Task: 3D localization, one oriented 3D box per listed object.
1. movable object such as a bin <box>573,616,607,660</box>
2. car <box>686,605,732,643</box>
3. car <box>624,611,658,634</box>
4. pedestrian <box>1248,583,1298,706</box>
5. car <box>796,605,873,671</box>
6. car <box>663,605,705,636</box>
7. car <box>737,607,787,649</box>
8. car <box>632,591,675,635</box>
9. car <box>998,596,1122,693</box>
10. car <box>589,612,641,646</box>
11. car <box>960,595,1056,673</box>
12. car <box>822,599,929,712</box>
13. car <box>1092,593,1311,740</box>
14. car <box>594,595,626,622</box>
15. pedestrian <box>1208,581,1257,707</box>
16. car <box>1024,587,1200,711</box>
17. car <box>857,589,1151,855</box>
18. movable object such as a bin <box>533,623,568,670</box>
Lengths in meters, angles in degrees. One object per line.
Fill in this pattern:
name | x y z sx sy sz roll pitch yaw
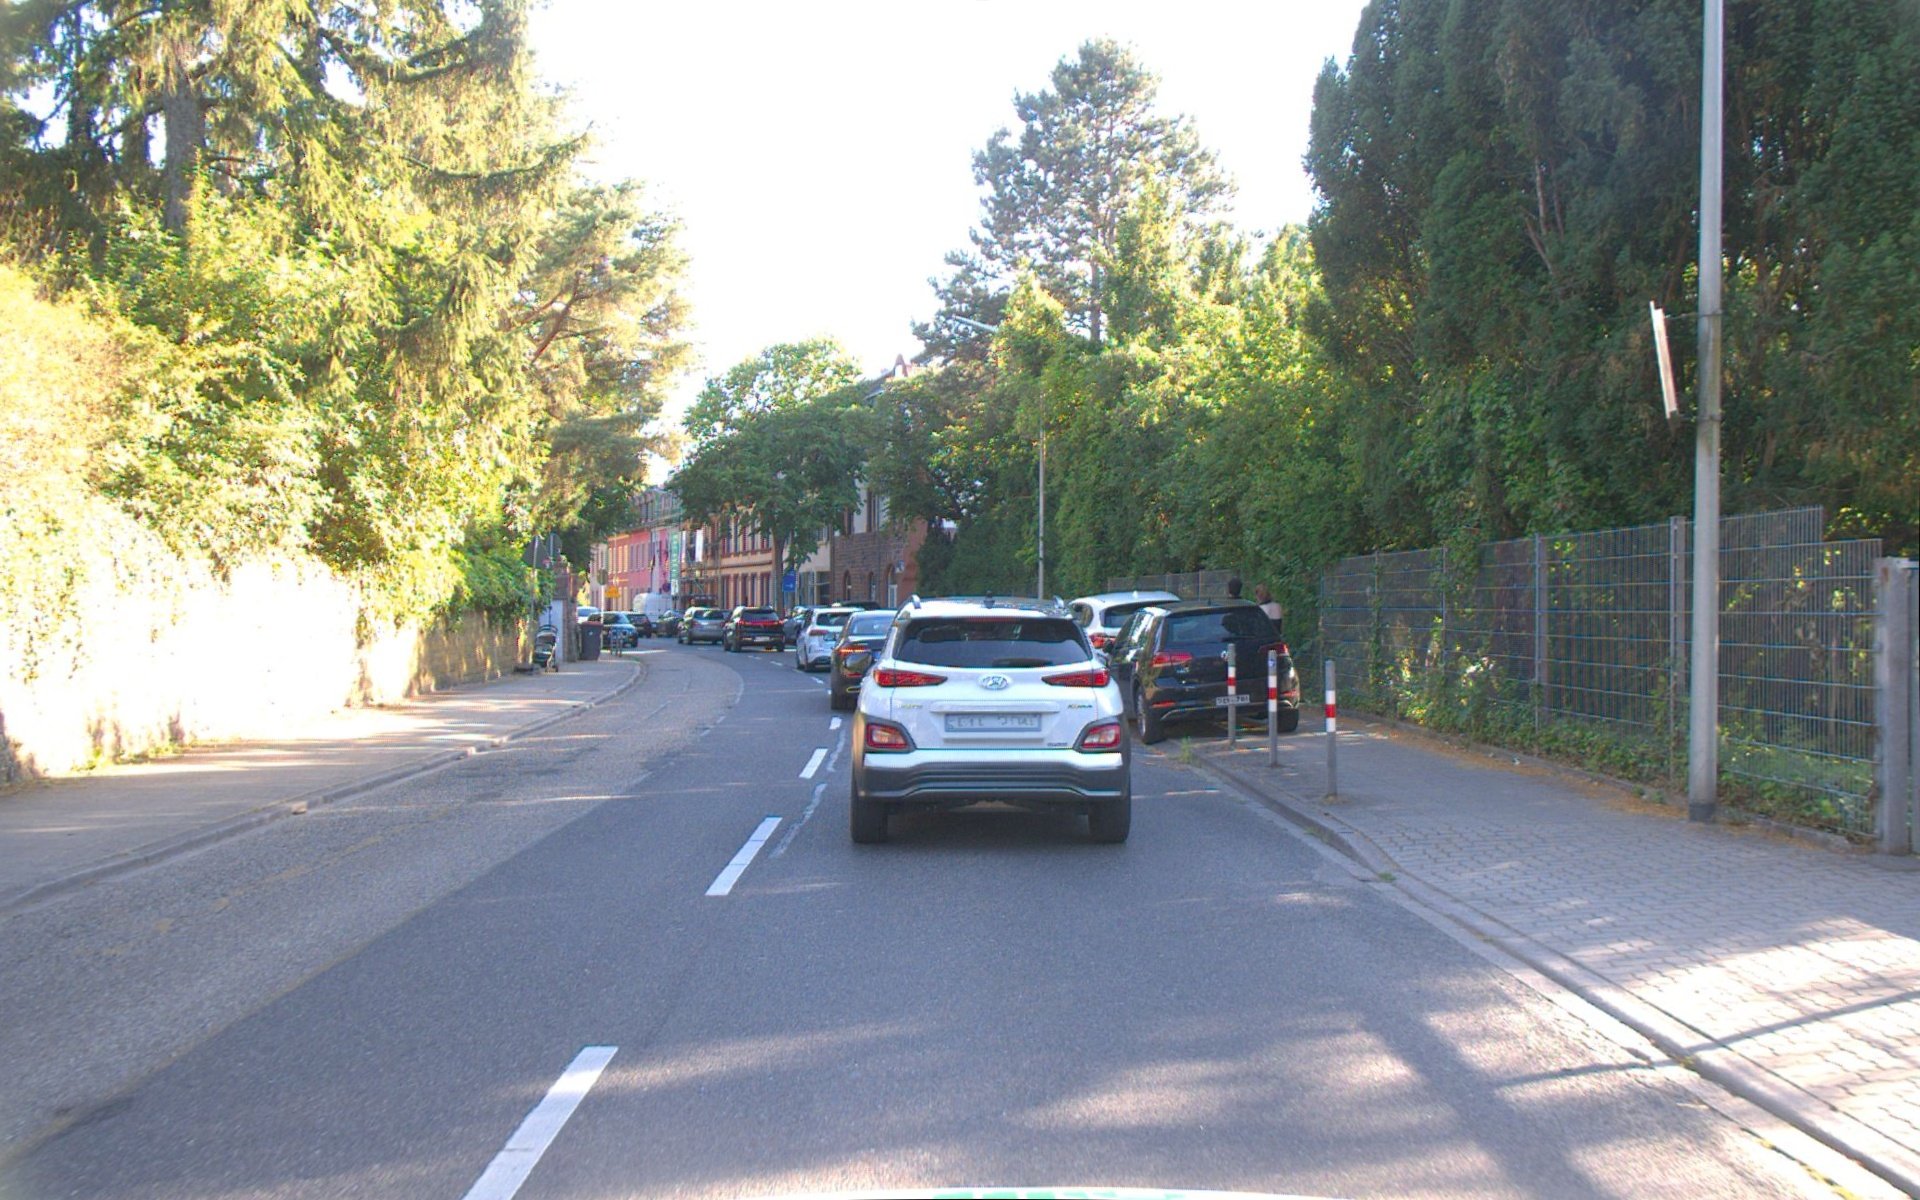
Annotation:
movable object such as a bin | -10.387 1.052 46.481 0.776 1.210 0.772 1 -1 -3
car | -10.947 1.040 72.028 1.564 1.610 3.346 0 0 -16
car | -17.892 1.256 92.706 1.503 1.282 3.344 0 0 -18
pedestrian | 4.147 0.585 21.953 0.493 1.596 0.503 -2 0 -1
car | -3.078 0.882 40.098 1.542 1.503 3.539 1 0 -10
car | -15.748 1.168 94.293 1.729 1.645 3.979 1 0 -18
car | -7.143 0.988 59.528 1.564 1.486 3.090 0 0 -11
car | -19.005 0.832 102.511 1.900 2.628 4.368 -1 0 -20
car | 1.731 0.760 29.707 1.563 1.546 3.927 -3 0 -6
car | -14.050 1.174 67.259 1.569 1.341 3.790 0 -1 -20
car | 0.981 0.691 35.406 1.563 1.515 3.598 -3 0 -6
car | -1.284 0.772 24.959 1.482 1.560 3.545 0 0 -3
car | 2.667 0.689 19.121 1.653 1.456 3.997 -2 0 -4
car | -26.843 0.665 126.697 1.693 1.970 3.973 -1 0 -22
pedestrian | 3.629 0.576 22.035 0.493 1.634 0.491 -2 0 -1
car | 2.133 0.682 24.292 1.564 1.592 3.991 -2 0 -9
car | 0.256 0.739 11.847 1.736 1.569 3.999 1 0 0
movable object such as a bin | -9.028 1.017 36.467 0.485 1.029 1.112 1 -1 -1
